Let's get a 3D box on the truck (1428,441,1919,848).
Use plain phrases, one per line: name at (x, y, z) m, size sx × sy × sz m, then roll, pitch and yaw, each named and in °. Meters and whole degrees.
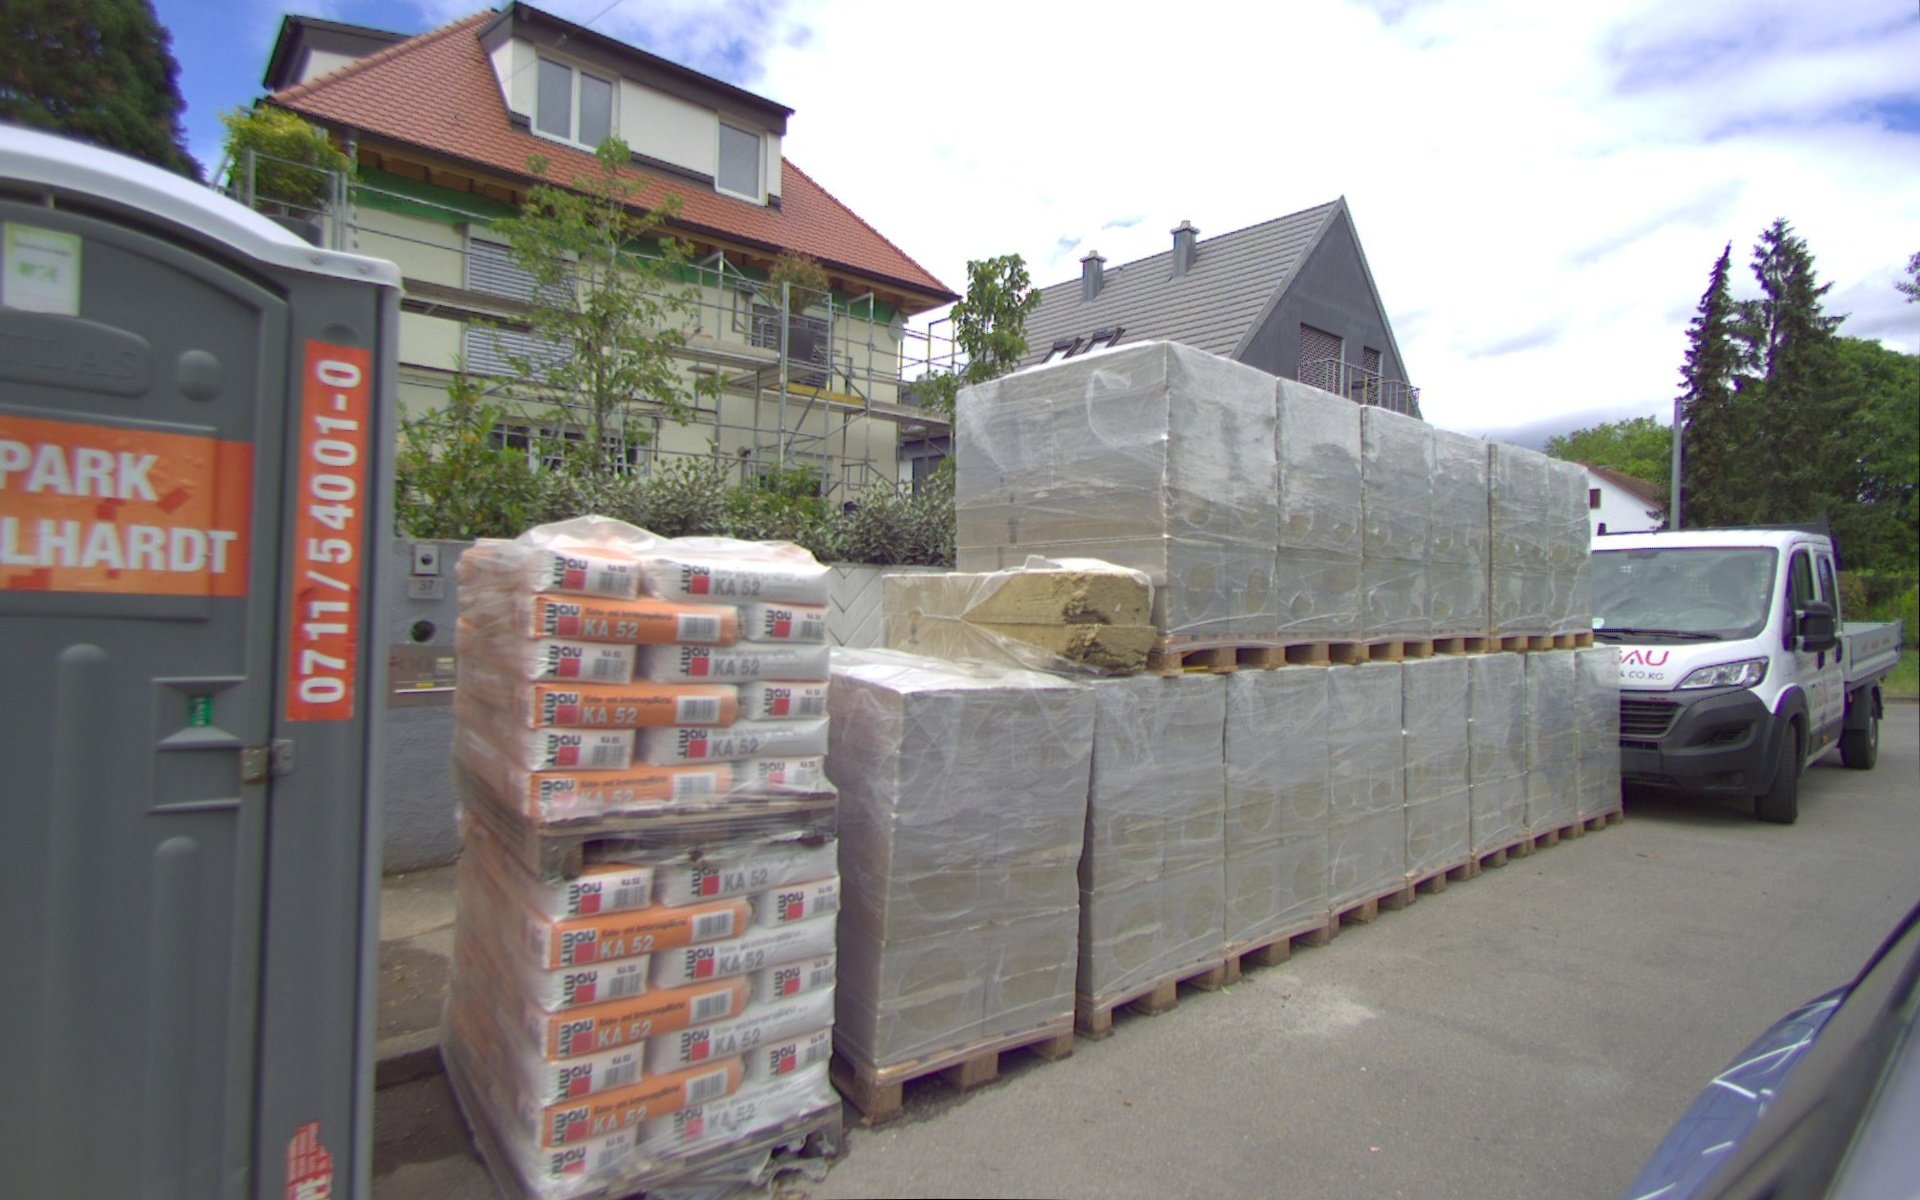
truck at (7.108, 0.287, 9.472) m, size 7.300 × 2.503 × 2.191 m, roll 0°, pitch -1°, yaw -41°
